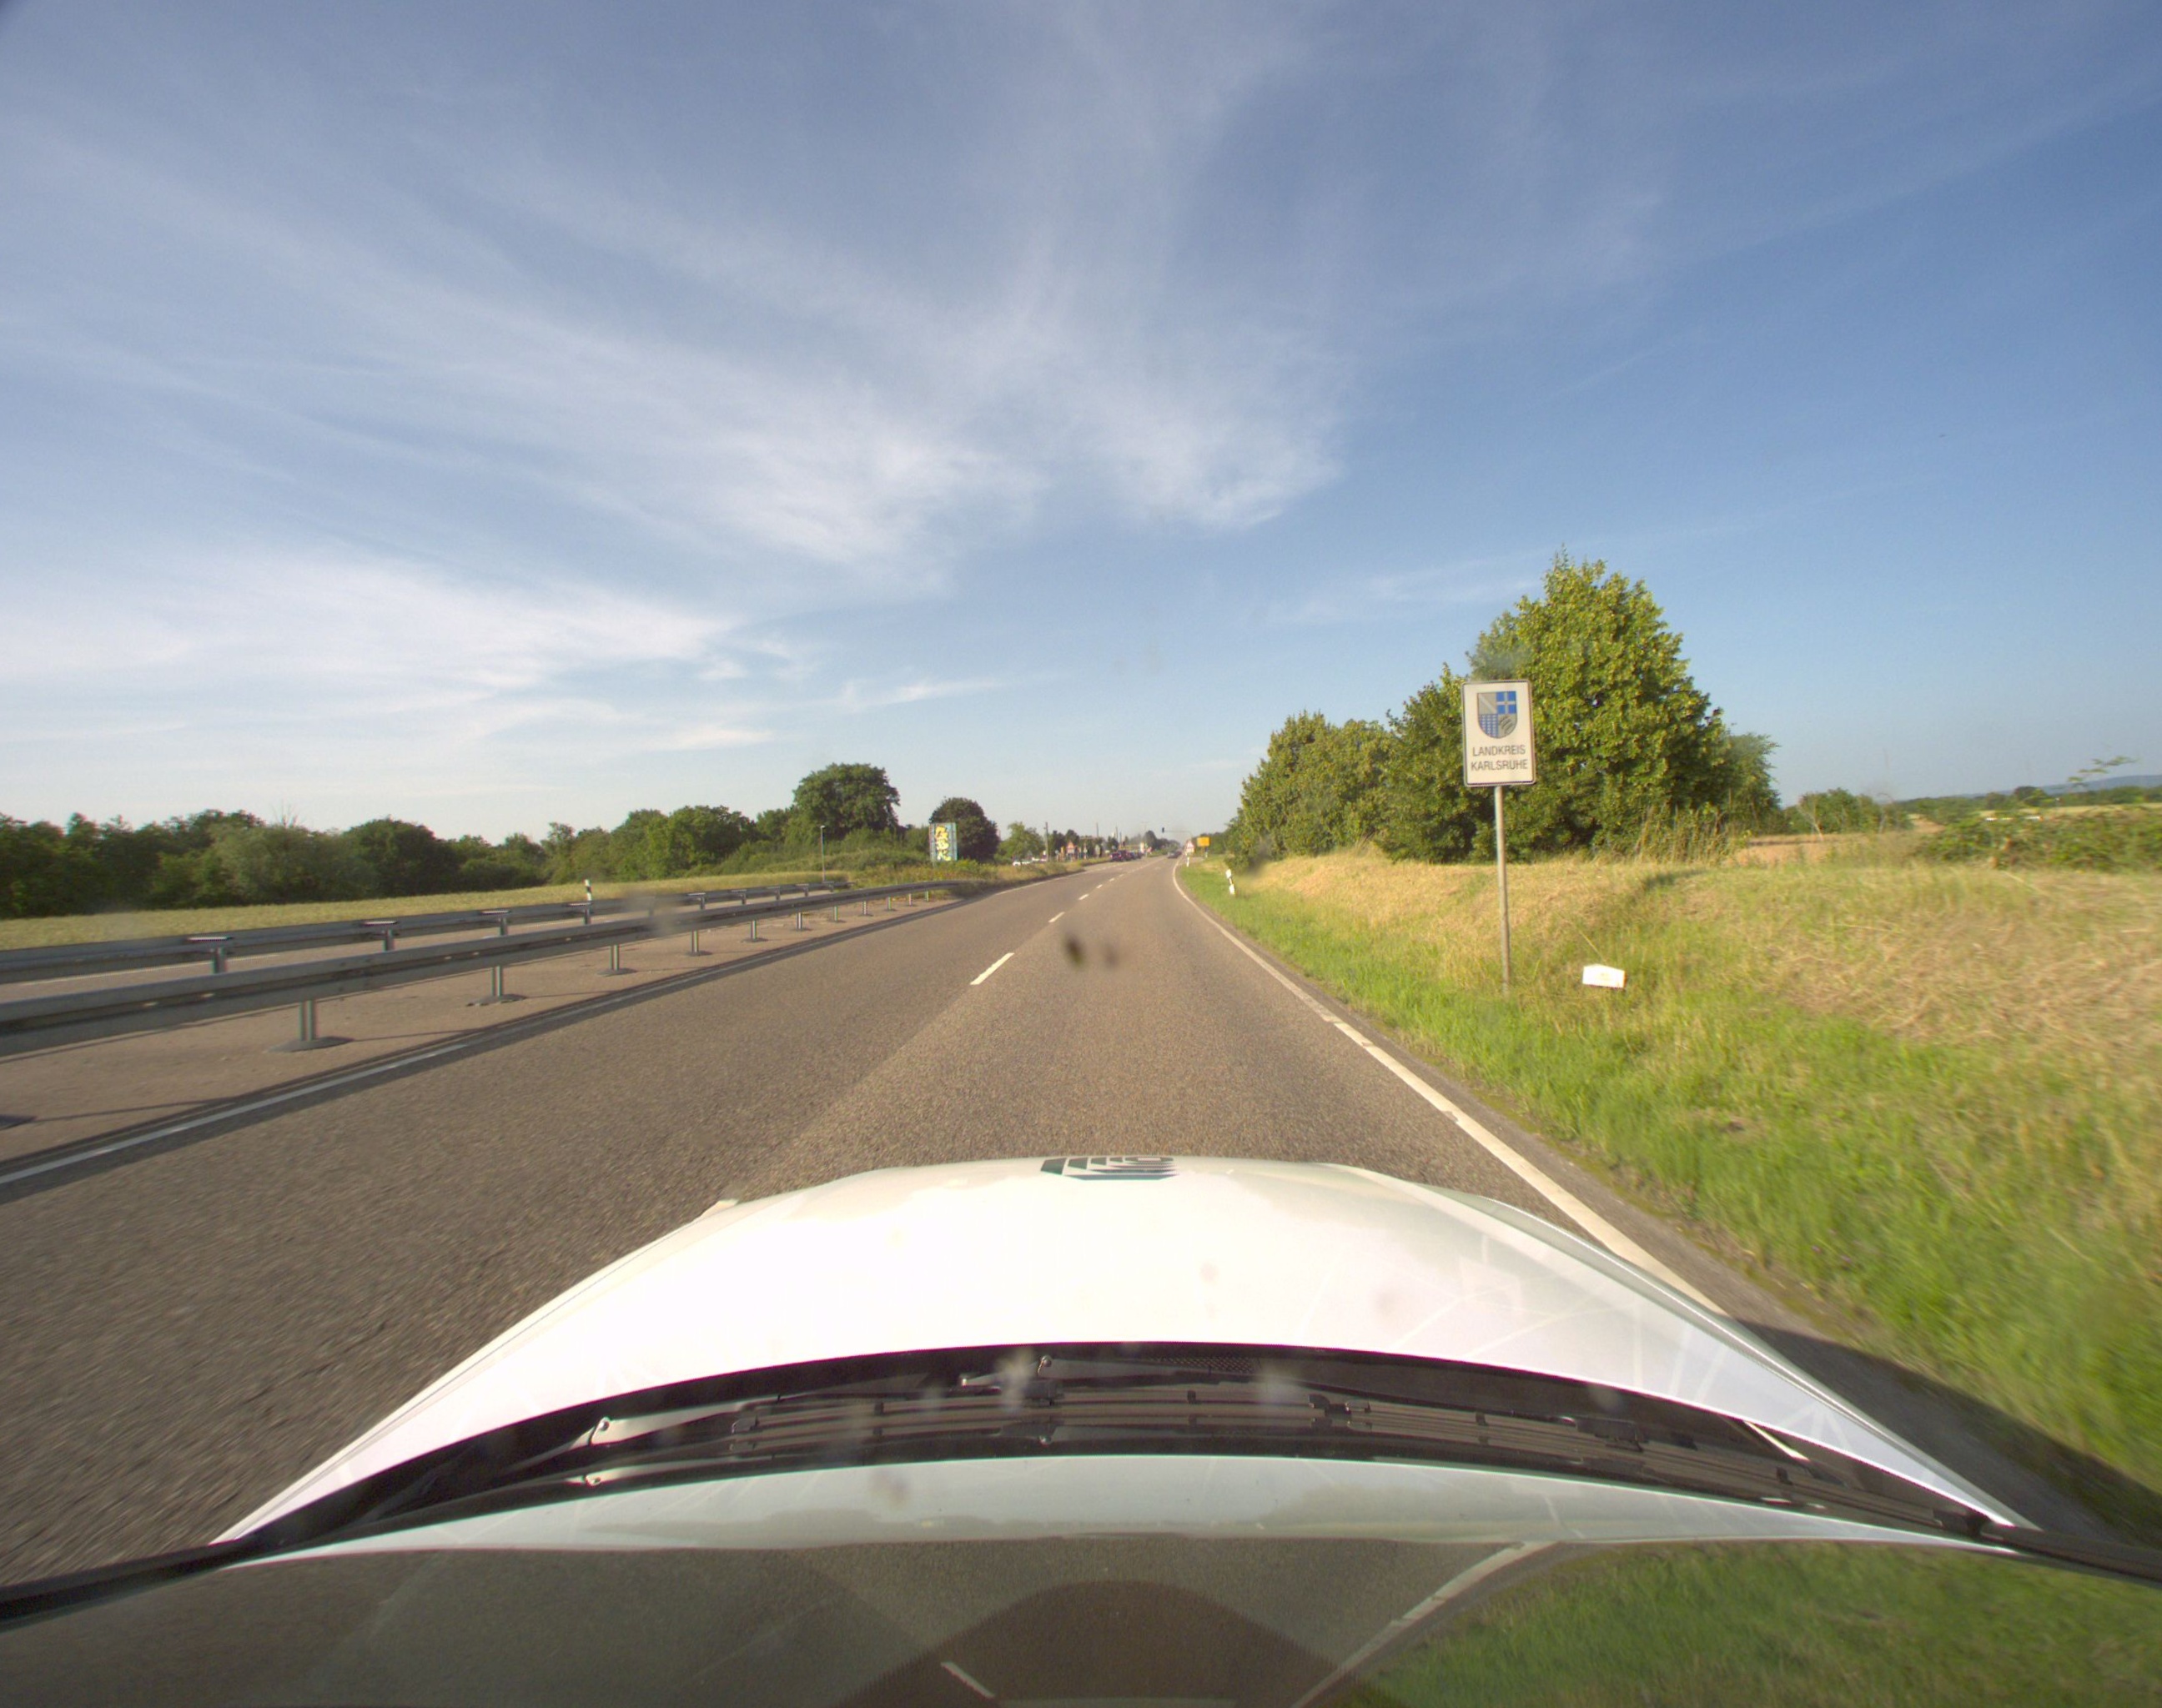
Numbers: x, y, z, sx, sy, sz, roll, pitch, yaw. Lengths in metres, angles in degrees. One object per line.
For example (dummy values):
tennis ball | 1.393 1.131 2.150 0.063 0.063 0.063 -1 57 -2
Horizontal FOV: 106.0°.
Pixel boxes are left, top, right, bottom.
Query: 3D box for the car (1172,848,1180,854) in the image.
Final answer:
car | 26.544 -0.782 227.966 1.983 1.596 4.008 -3 0 7

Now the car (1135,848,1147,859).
car | 12.241 -0.011 165.386 1.982 2.014 4.847 -2 -2 9

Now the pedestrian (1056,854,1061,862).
pedestrian | -4.741 0.870 169.594 0.912 1.706 1.068 -1 -1 2

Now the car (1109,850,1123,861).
car | 5.340 0.225 123.246 1.722 1.456 4.530 -2 0 8

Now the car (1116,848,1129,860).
car | 6.633 -0.008 130.083 1.722 1.855 4.530 -2 0 8

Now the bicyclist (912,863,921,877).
bicyclist | -16.798 1.604 83.162 0.464 1.389 1.050 -2 0 7

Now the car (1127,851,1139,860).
car | 9.412 0.322 147.594 1.760 1.471 4.024 -2 0 8

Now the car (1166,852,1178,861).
car | 17.201 0.443 153.446 1.982 1.552 4.009 -2 0 8
